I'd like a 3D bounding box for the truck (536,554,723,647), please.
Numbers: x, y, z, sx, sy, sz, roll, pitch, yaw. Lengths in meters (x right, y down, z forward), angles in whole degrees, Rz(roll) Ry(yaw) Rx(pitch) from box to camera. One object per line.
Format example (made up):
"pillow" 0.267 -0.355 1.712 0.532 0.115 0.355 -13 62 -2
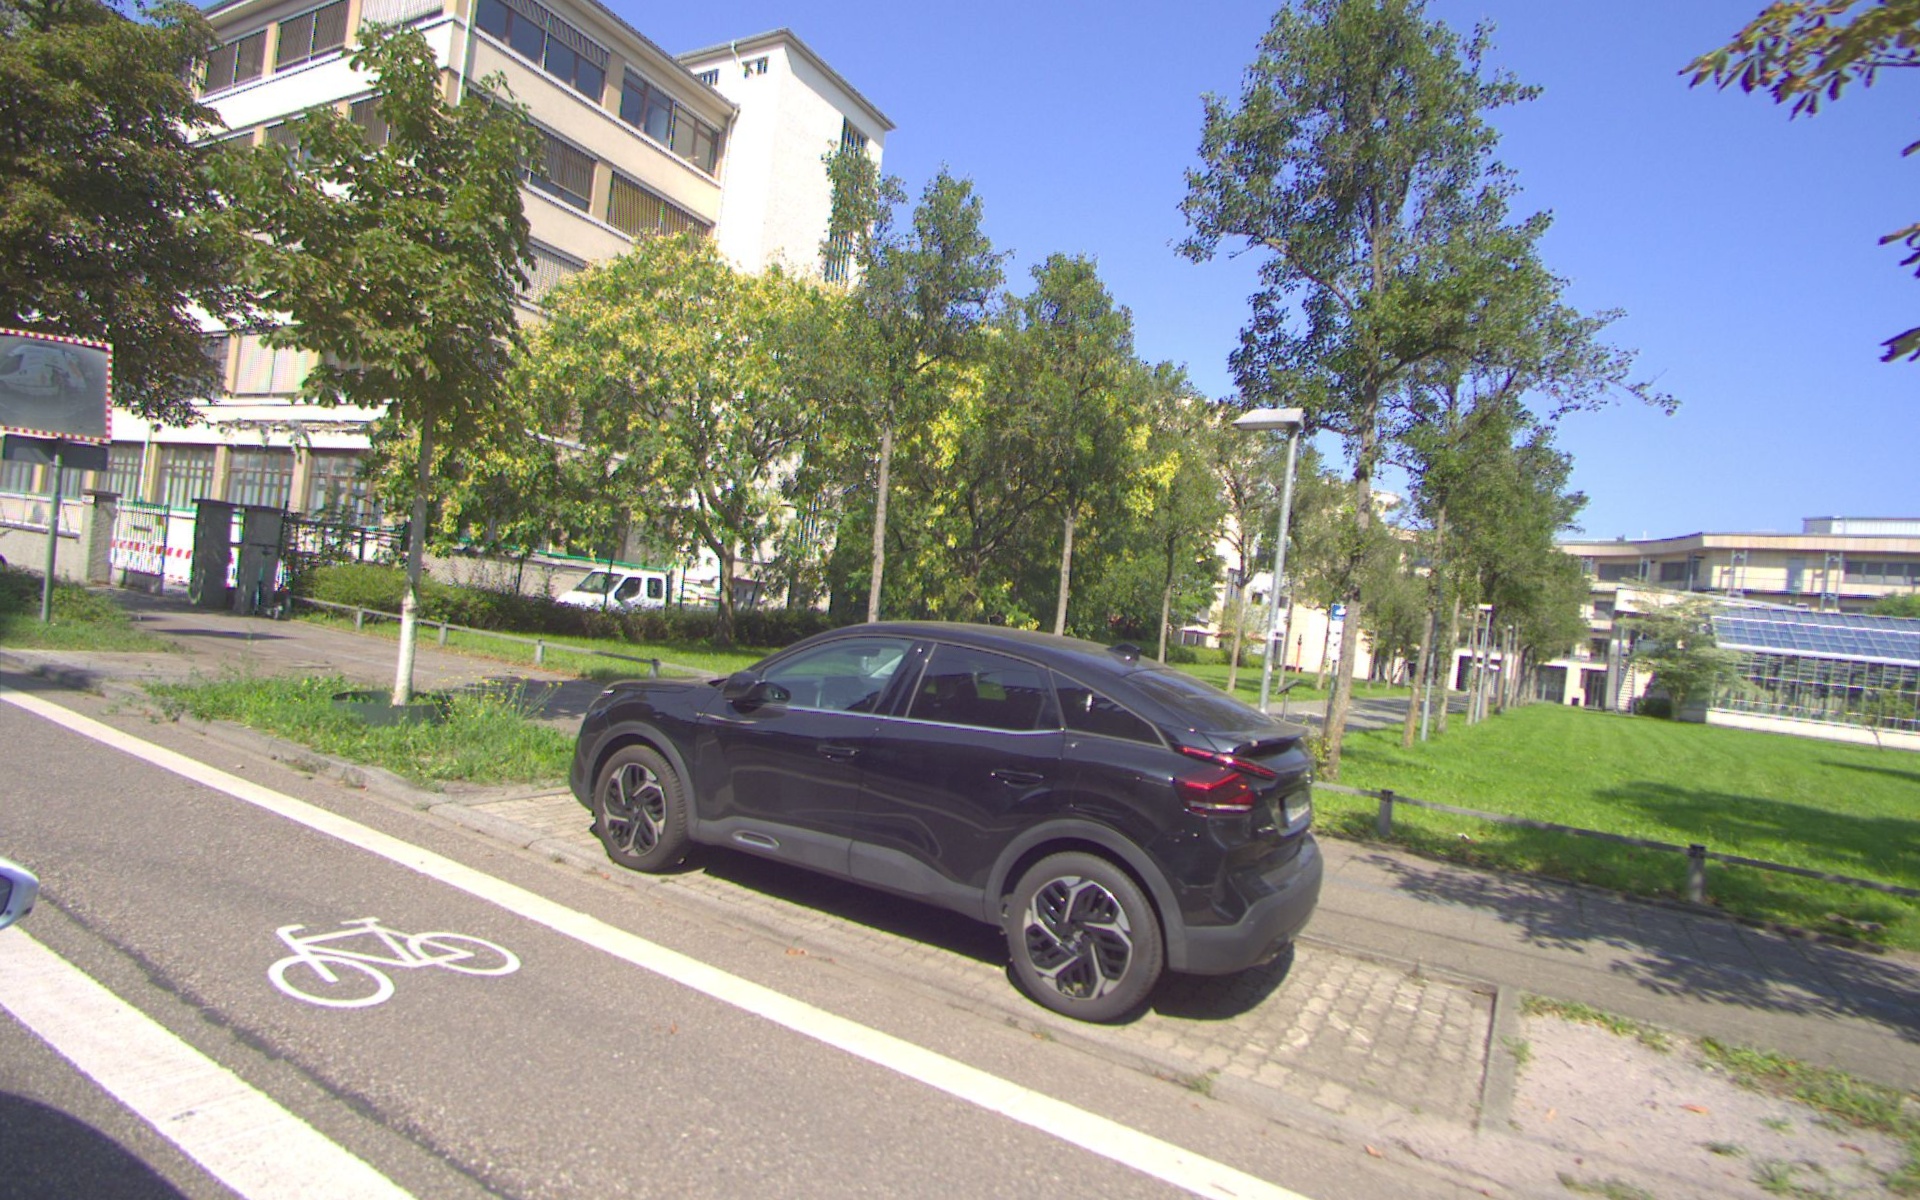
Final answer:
"truck" -10.759 0.095 33.231 2.261 2.353 5.517 6 -2 32

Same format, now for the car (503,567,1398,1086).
"car" -0.211 0.846 5.524 4.531 1.534 1.759 6 0 30

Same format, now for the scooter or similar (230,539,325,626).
"scooter or similar" -11.483 -0.308 16.905 1.788 1.274 0.557 6 -1 33

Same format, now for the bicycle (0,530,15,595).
"bicycle" -15.314 -0.674 14.866 0.548 0.969 1.816 7 -2 30
